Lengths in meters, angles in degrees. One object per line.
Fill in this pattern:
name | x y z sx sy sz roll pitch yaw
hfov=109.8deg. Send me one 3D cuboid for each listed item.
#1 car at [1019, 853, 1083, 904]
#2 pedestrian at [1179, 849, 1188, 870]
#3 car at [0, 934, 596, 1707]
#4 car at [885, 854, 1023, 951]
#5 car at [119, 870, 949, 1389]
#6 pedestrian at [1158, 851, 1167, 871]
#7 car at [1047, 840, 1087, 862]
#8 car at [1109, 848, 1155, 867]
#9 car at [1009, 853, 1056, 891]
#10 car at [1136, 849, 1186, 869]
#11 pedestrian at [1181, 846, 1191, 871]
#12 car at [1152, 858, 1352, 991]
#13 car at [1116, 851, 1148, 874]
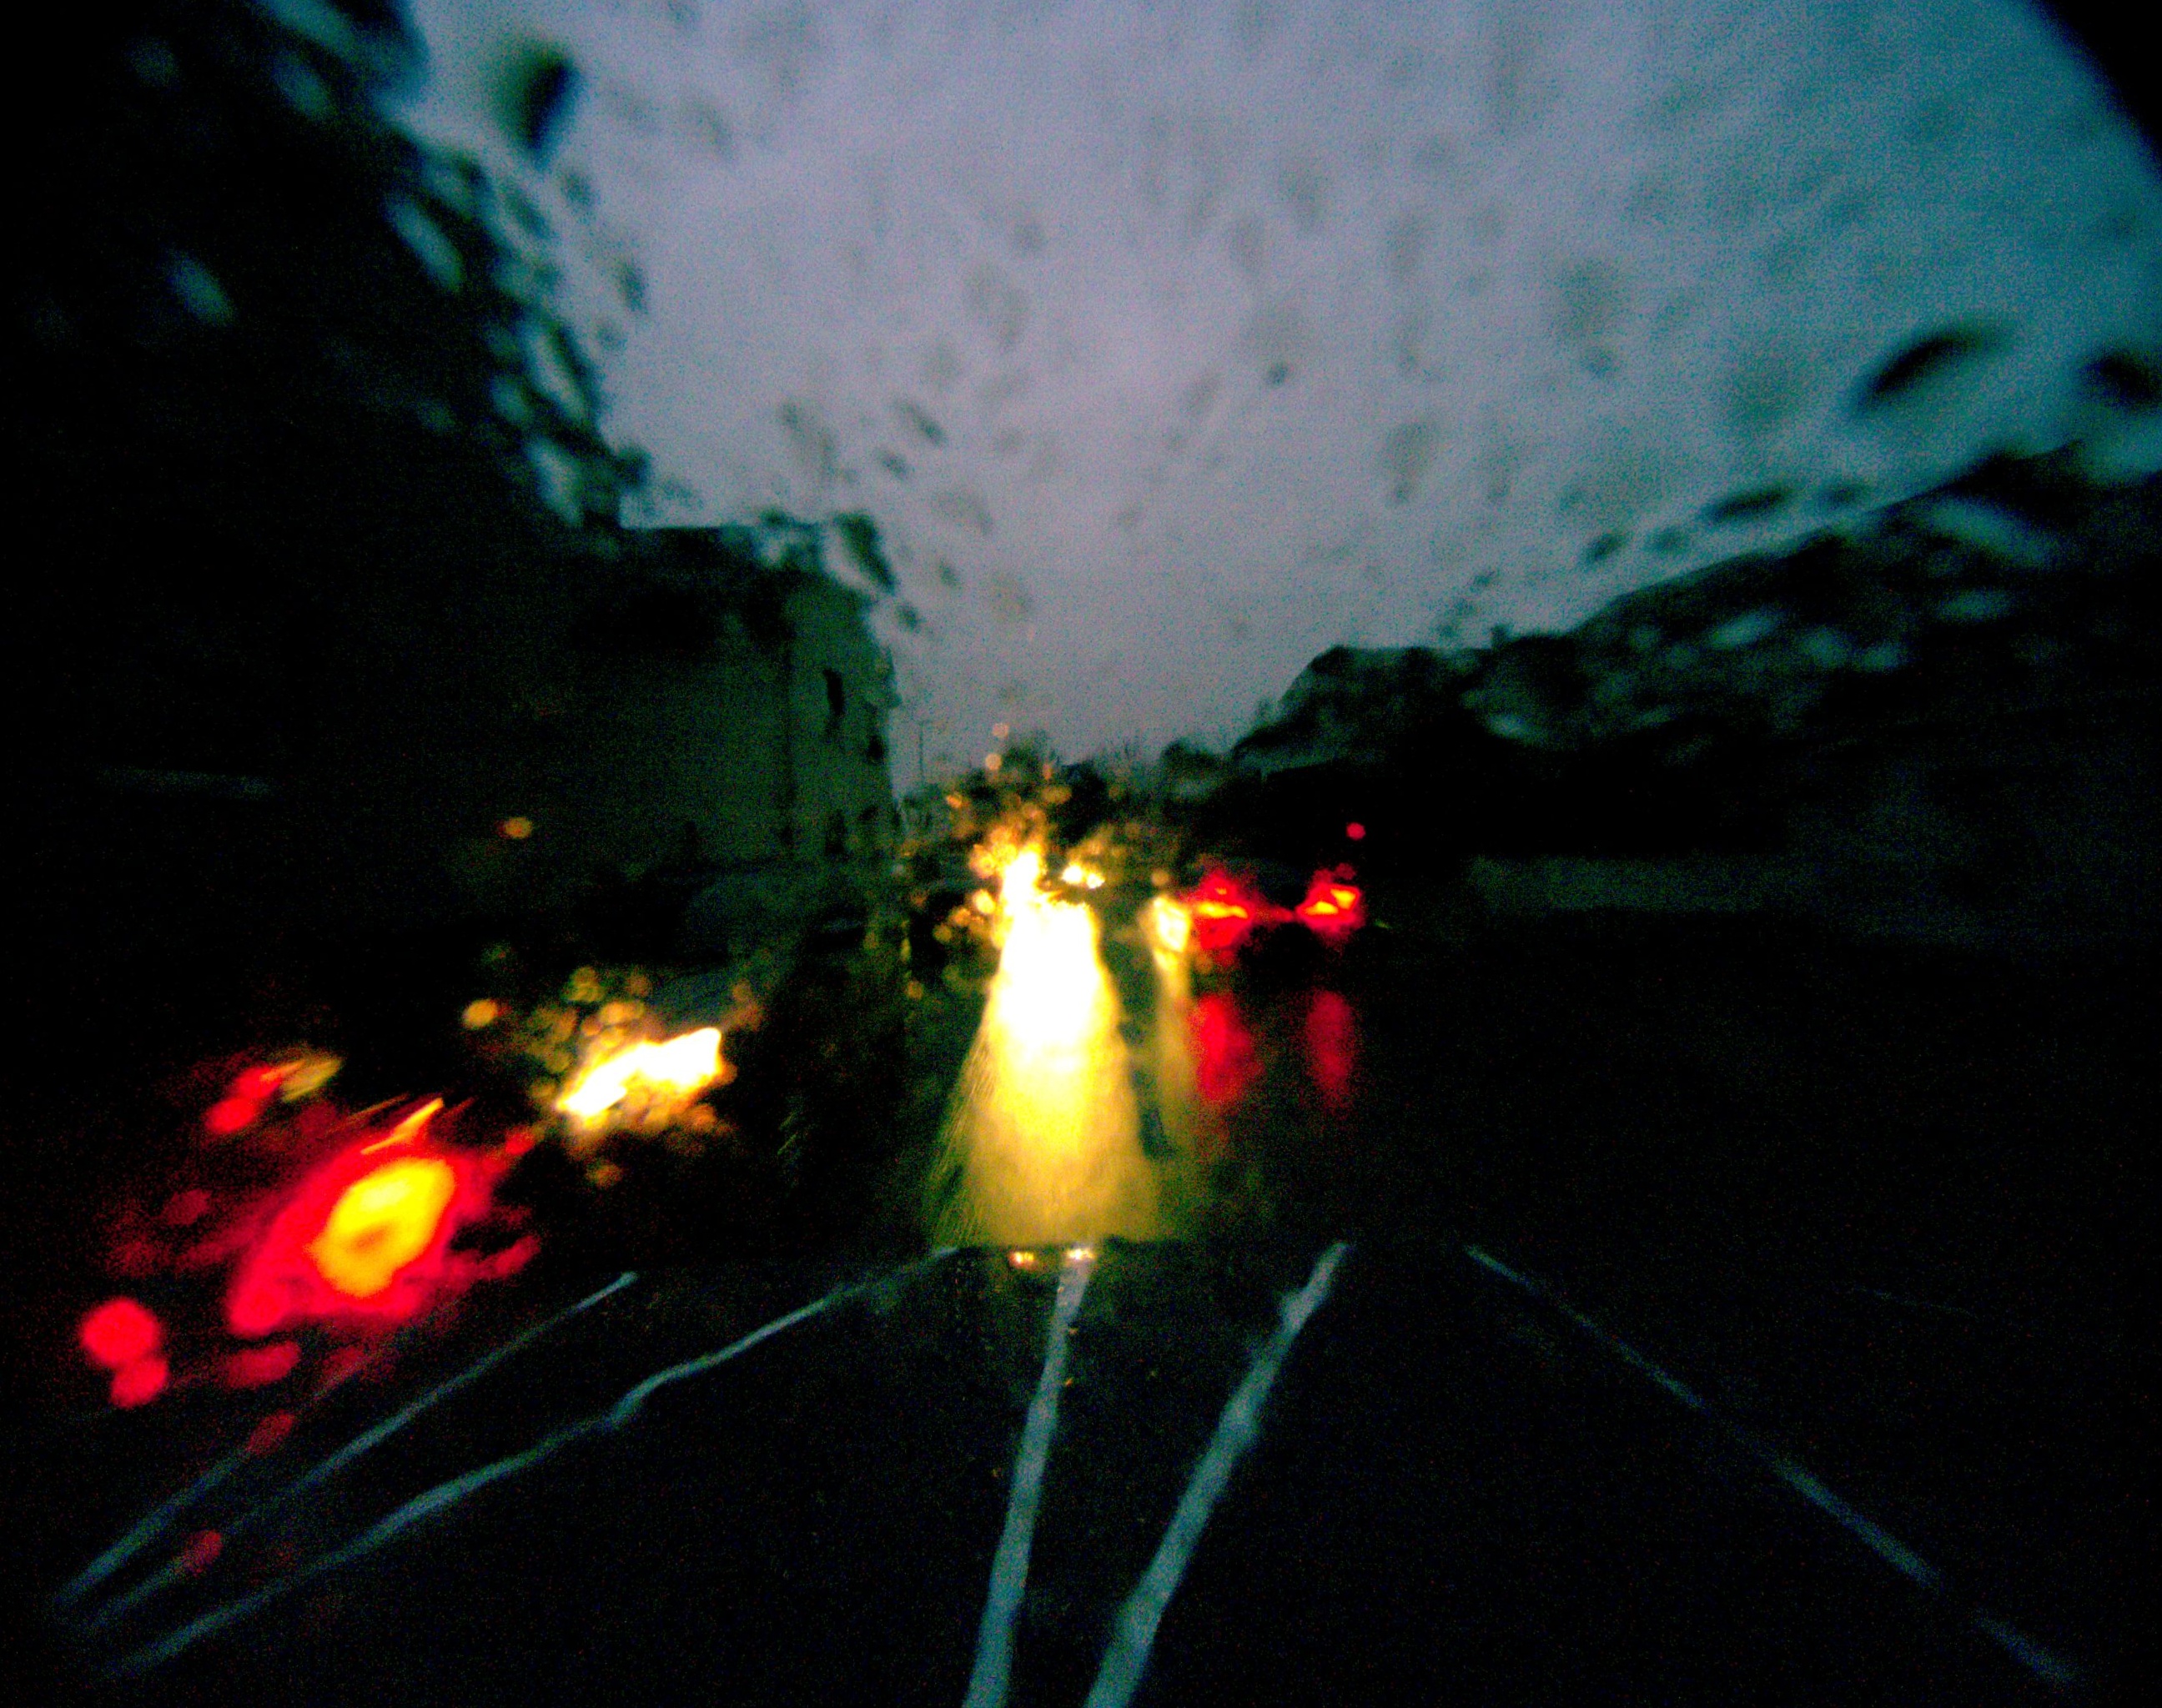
car | -1.026 0.769 26.046 1.991 1.549 4.235 -1 0 -2
pedestrian | 7.736 0.403 57.487 0.591 1.562 0.581 -2 1 1
car | -2.423 0.959 0.174 1.739 1.398 4.304 -1 0 2
car | -2.369 0.846 15.334 1.991 1.638 4.236 -1 0 1
car | -2.169 0.966 4.641 1.814 1.530 4.304 -1 1 2
pedestrian | 6.215 0.535 58.196 0.591 1.463 0.581 -2 1 1
car | -1.315 -0.281 68.272 1.855 1.872 4.876 -1 0 -24
car | 4.804 0.342 71.197 3.993 1.652 1.757 -1 0 13
car | -2.214 0.760 34.485 1.992 1.549 4.234 -1 0 -4
car | 6.900 0.455 65.450 3.993 1.652 1.757 -1 0 13
pedestrian | 7.723 0.316 55.777 0.591 1.774 0.581 -2 1 1
car | 2.210 0.842 11.067 1.991 1.489 4.236 -1 0 1
car | 3.930 0.640 59.079 1.755 1.652 3.997 -1 0 -7
